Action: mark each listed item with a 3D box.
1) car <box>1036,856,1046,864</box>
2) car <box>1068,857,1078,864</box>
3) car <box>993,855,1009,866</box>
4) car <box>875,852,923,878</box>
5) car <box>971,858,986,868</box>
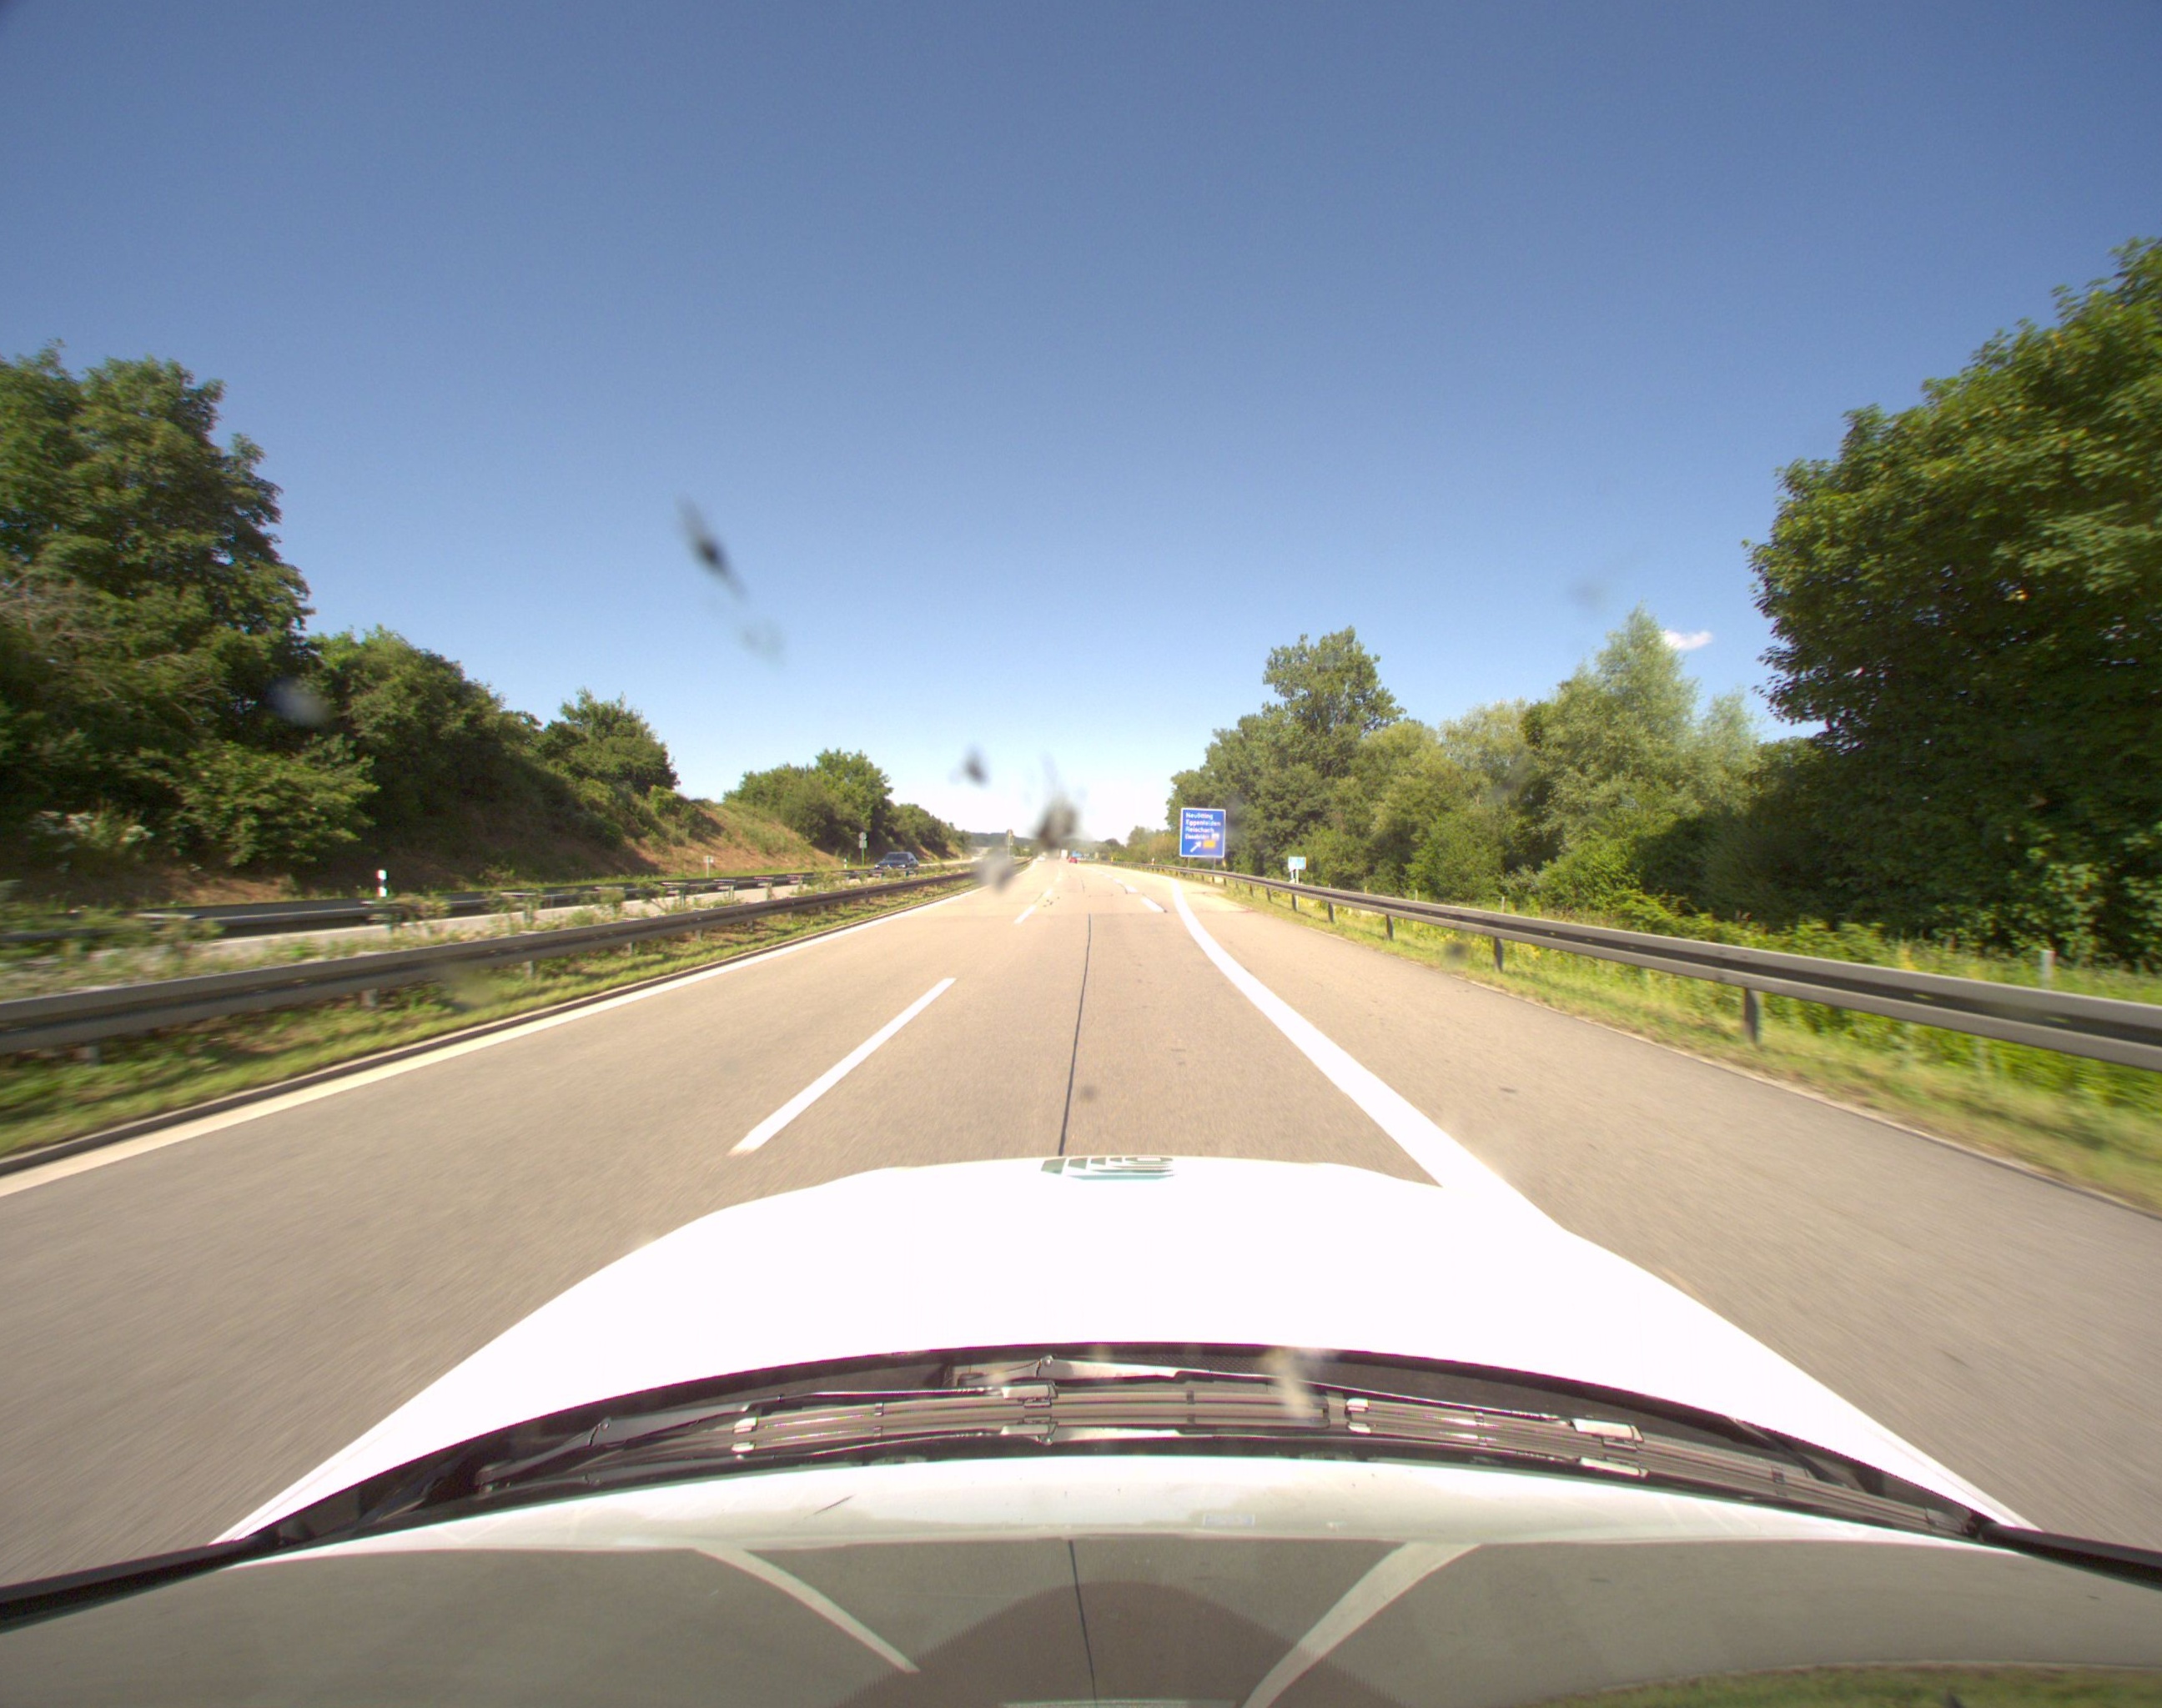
[{"bbox_3d":[-9.119,1.297,185.703,2.057,1.625,3.994,1,-3,-3],"label":"car"},{"bbox_3d":[-1.909,1.531,185.837,1.775,1.431,4.005,4,-1,5],"label":"car"},{"bbox_3d":[-11.650,0.926,118.555,1.988,1.545,4.673,-1,0,-2],"label":"car"},{"bbox_3d":[-10.392,0.658,46.869,1.639,1.455,4.906,0,-1,0],"label":"car"},{"bbox_3d":[-16.186,1.400,128.898,1.835,1.439,4.409,0,0,-2],"label":"car"}]
